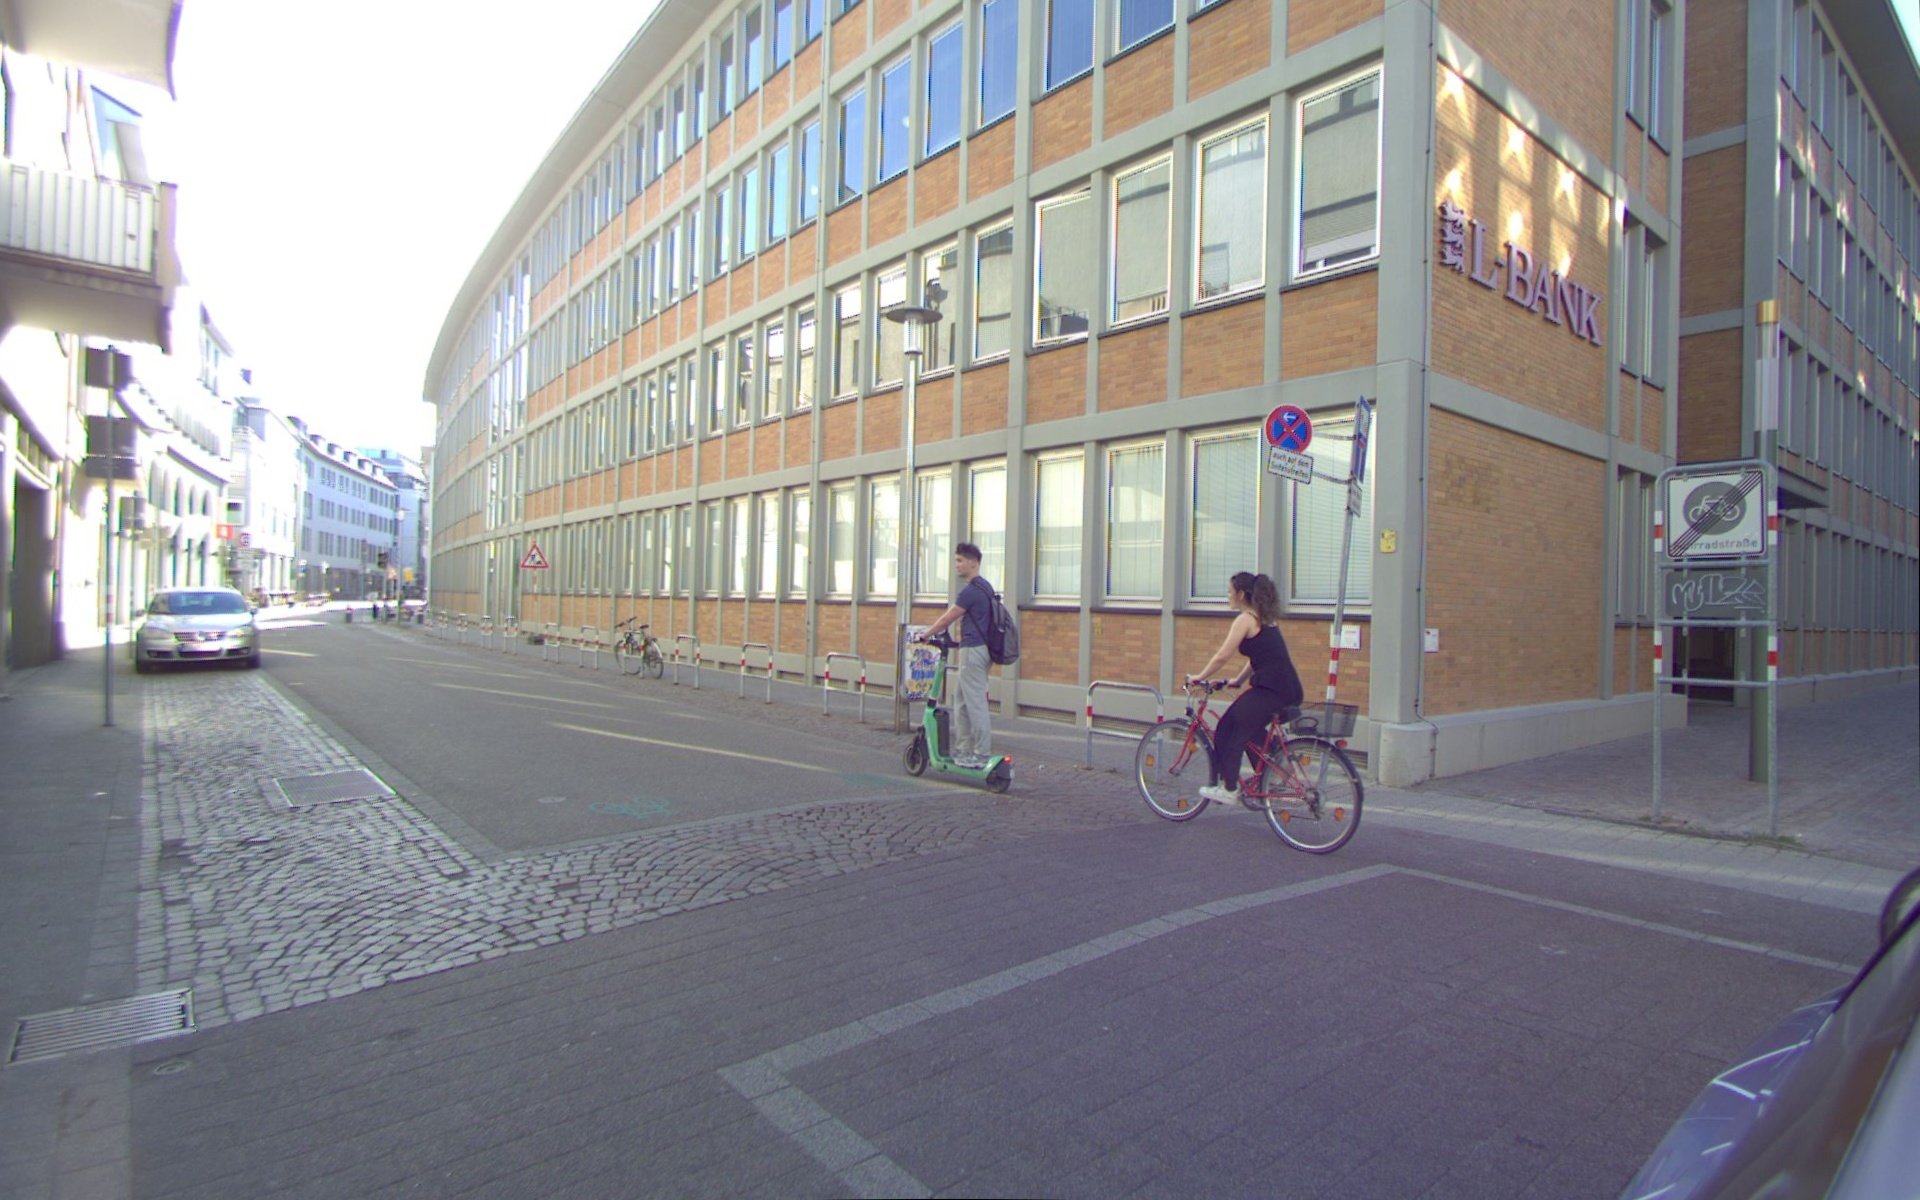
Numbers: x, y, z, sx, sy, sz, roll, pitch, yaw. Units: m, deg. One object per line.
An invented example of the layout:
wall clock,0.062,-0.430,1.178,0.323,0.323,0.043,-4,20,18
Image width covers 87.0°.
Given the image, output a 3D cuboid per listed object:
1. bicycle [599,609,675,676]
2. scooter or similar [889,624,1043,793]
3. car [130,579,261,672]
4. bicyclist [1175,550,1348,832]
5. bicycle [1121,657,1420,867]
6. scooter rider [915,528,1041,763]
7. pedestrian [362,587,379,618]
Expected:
bicycle,-5.917,0.745,18.467,0.627,1.130,1.928,1,0,-40
scooter or similar,0.025,0.835,8.148,1.274,1.201,0.332,3,-1,41
car,-13.916,0.365,18.415,1.739,1.488,3.810,-1,2,-38
bicyclist,1.952,0.551,6.576,0.609,1.688,0.823,5,-3,-39
bicycle,1.931,0.959,6.534,0.580,1.065,1.799,4,-2,-39
scooter rider,0.141,0.329,8.007,0.699,1.748,0.639,2,0,41
pedestrian,-28.647,0.130,49.176,0.647,1.459,0.595,1,0,-37
